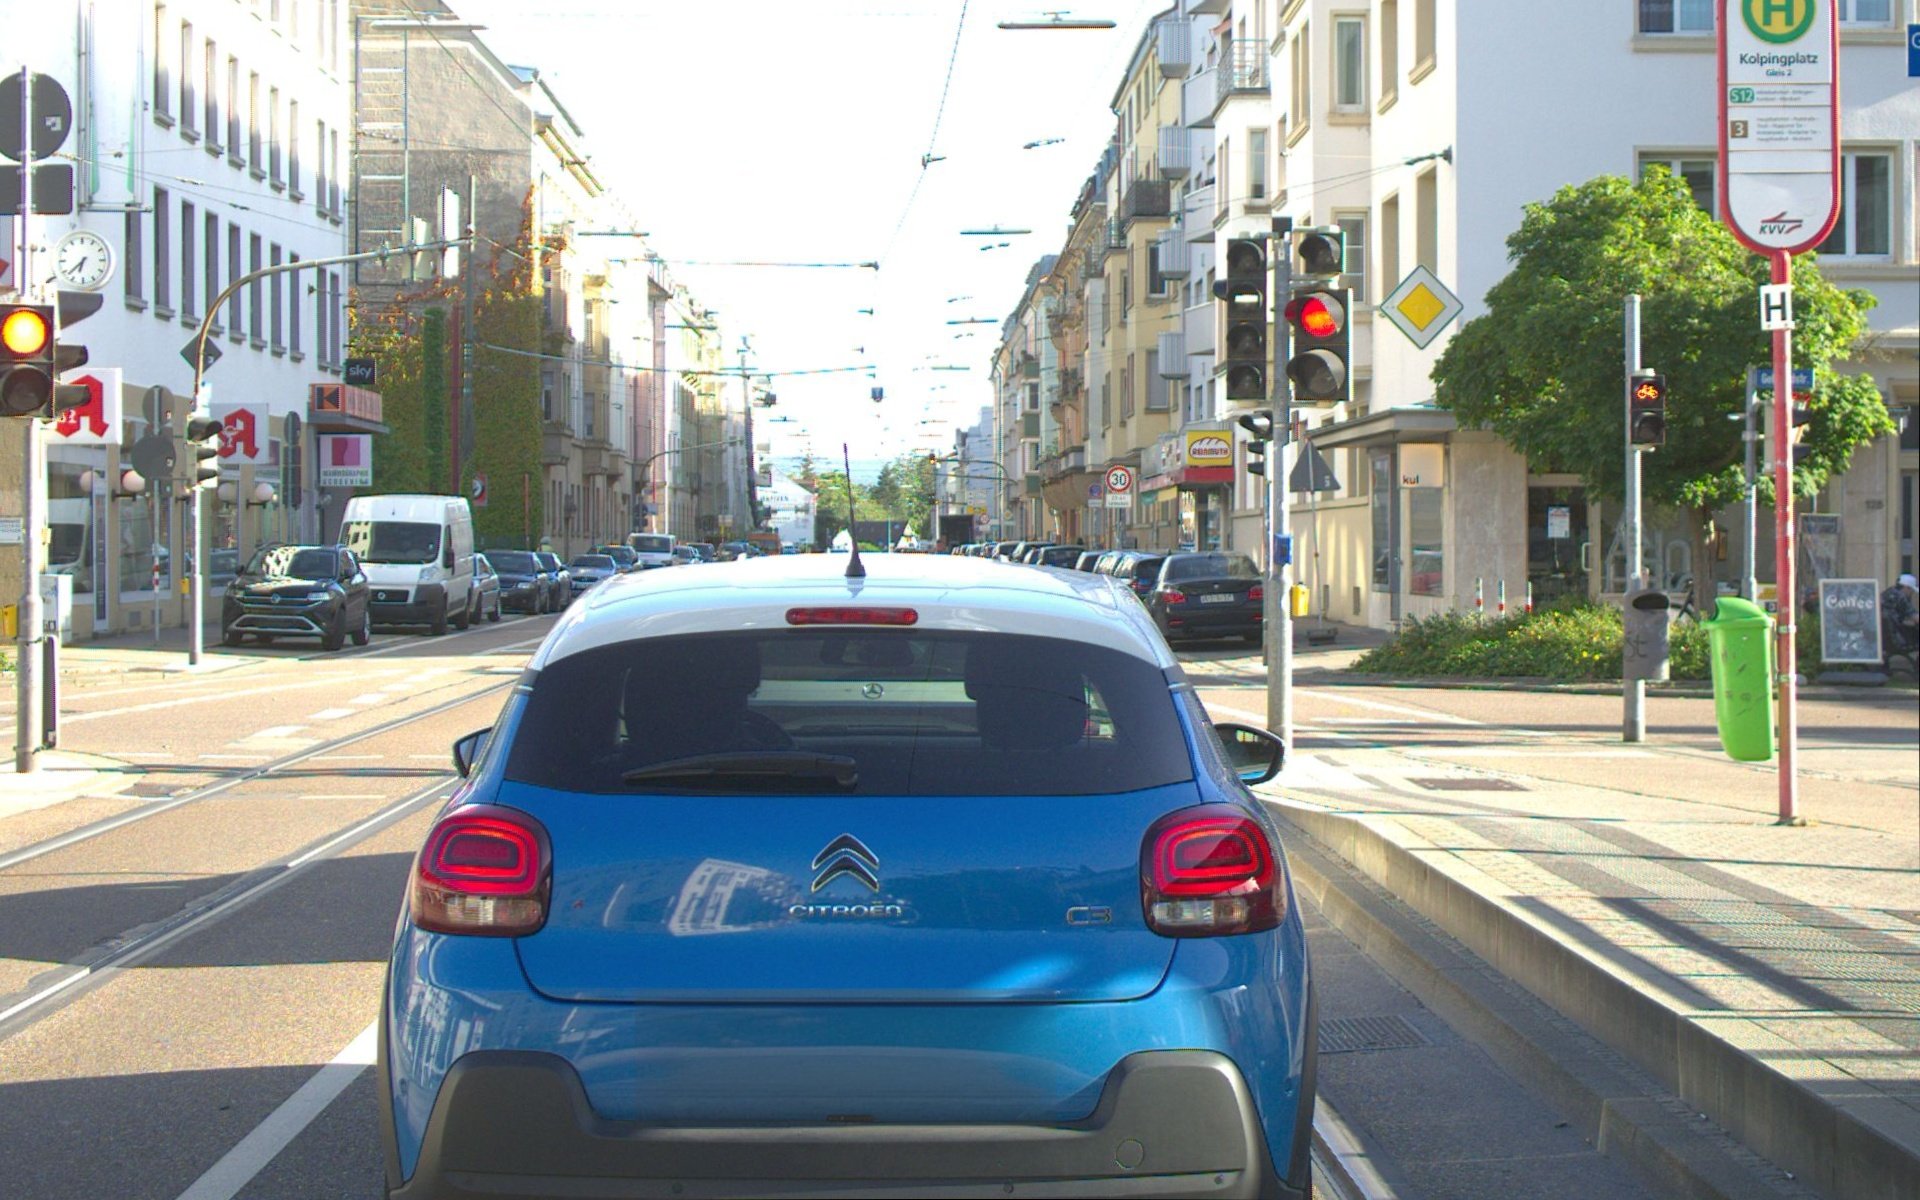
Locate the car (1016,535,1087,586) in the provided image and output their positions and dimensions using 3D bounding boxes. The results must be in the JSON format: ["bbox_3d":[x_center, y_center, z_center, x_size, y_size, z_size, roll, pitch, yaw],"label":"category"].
[{"bbox_3d":[2.685,-1.178,101.857,1.993,1.459,4.504,0,1,0],"label":"car"}]

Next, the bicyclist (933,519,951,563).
[{"bbox_3d":[-0.835,-2.730,159.534,0.809,2.007,0.922,1,0,0],"label":"bicyclist"}]

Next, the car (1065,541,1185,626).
[{"bbox_3d":[2.987,-0.327,62.930,1.993,1.496,4.000,0,1,0],"label":"car"}]

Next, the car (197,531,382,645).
[{"bbox_3d":[-10.165,-0.201,52.414,1.993,1.563,4.403,3,0,-2],"label":"car"}]

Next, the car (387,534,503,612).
[{"bbox_3d":[-10.365,-0.549,69.444,1.888,1.491,3.562,1,0,-2],"label":"car"}]

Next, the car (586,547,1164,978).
[{"bbox_3d":[-0.330,0.529,14.344,1.984,1.459,4.816,1,1,-1],"label":"car"}]

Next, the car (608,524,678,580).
[{"bbox_3d":[-11.646,-1.759,126.624,2.006,2.007,4.689,1,0,1],"label":"car"}]

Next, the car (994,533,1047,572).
[{"bbox_3d":[2.338,-1.840,133.205,1.993,1.459,4.000,0,1,0],"label":"car"}]

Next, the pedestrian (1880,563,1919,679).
[{"bbox_3d":[10.881,0.235,39.055,0.741,1.311,0.627,0,1,23],"label":"pedestrian"}]

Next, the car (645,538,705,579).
[{"bbox_3d":[-11.311,-1.638,136.630,1.955,1.547,3.938,1,0,2],"label":"car"}]

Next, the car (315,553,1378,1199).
[{"bbox_3d":[-0.216,0.655,7.559,1.728,1.477,3.827,1,1,-1],"label":"car"}]

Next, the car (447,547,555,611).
[{"bbox_3d":[-10.396,-0.483,78.142,1.993,1.393,4.157,1,0,-2],"label":"car"}]

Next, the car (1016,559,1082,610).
[{"bbox_3d":[2.728,-0.500,106.212,1.993,1.546,4.000,0,1,1],"label":"car"}]

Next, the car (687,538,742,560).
[{"bbox_3d":[-13.176,-2.761,184.823,1.994,1.152,4.513,0,1,9],"label":"car"}]

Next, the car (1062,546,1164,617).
[{"bbox_3d":[3.206,-0.405,72.864,1.993,1.459,4.000,0,1,0],"label":"car"}]

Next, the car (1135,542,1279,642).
[{"bbox_3d":[3.716,-0.144,52.398,1.909,1.459,4.000,0,1,0],"label":"car"}]

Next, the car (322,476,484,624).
[{"bbox_3d":[-10.070,-0.918,62.606,2.085,2.533,6.206,1,1,-2],"label":"car"}]

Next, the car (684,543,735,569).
[{"bbox_3d":[-11.202,-1.975,153.909,1.993,1.152,4.000,0,1,0],"label":"car"}]

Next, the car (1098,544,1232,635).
[{"bbox_3d":[3.371,-0.202,57.197,1.993,1.459,4.000,0,1,0],"label":"car"}]

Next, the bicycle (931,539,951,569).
[{"bbox_3d":[-0.885,-2.155,159.880,0.920,1.384,3.132,0,1,0],"label":"bicycle"}]

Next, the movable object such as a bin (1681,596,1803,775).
[{"bbox_3d":[3.515,0.379,15.469,0.449,0.783,0.489,0,1,2],"label":"movable object such as a bin"}]

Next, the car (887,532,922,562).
[{"bbox_3d":[-3.236,-3.083,200.007,1.993,1.766,4.000,0,1,-1],"label":"car"}]

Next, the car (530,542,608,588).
[{"bbox_3d":[-11.709,-1.048,103.192,1.993,1.320,3.923,1,0,-2],"label":"car"}]
